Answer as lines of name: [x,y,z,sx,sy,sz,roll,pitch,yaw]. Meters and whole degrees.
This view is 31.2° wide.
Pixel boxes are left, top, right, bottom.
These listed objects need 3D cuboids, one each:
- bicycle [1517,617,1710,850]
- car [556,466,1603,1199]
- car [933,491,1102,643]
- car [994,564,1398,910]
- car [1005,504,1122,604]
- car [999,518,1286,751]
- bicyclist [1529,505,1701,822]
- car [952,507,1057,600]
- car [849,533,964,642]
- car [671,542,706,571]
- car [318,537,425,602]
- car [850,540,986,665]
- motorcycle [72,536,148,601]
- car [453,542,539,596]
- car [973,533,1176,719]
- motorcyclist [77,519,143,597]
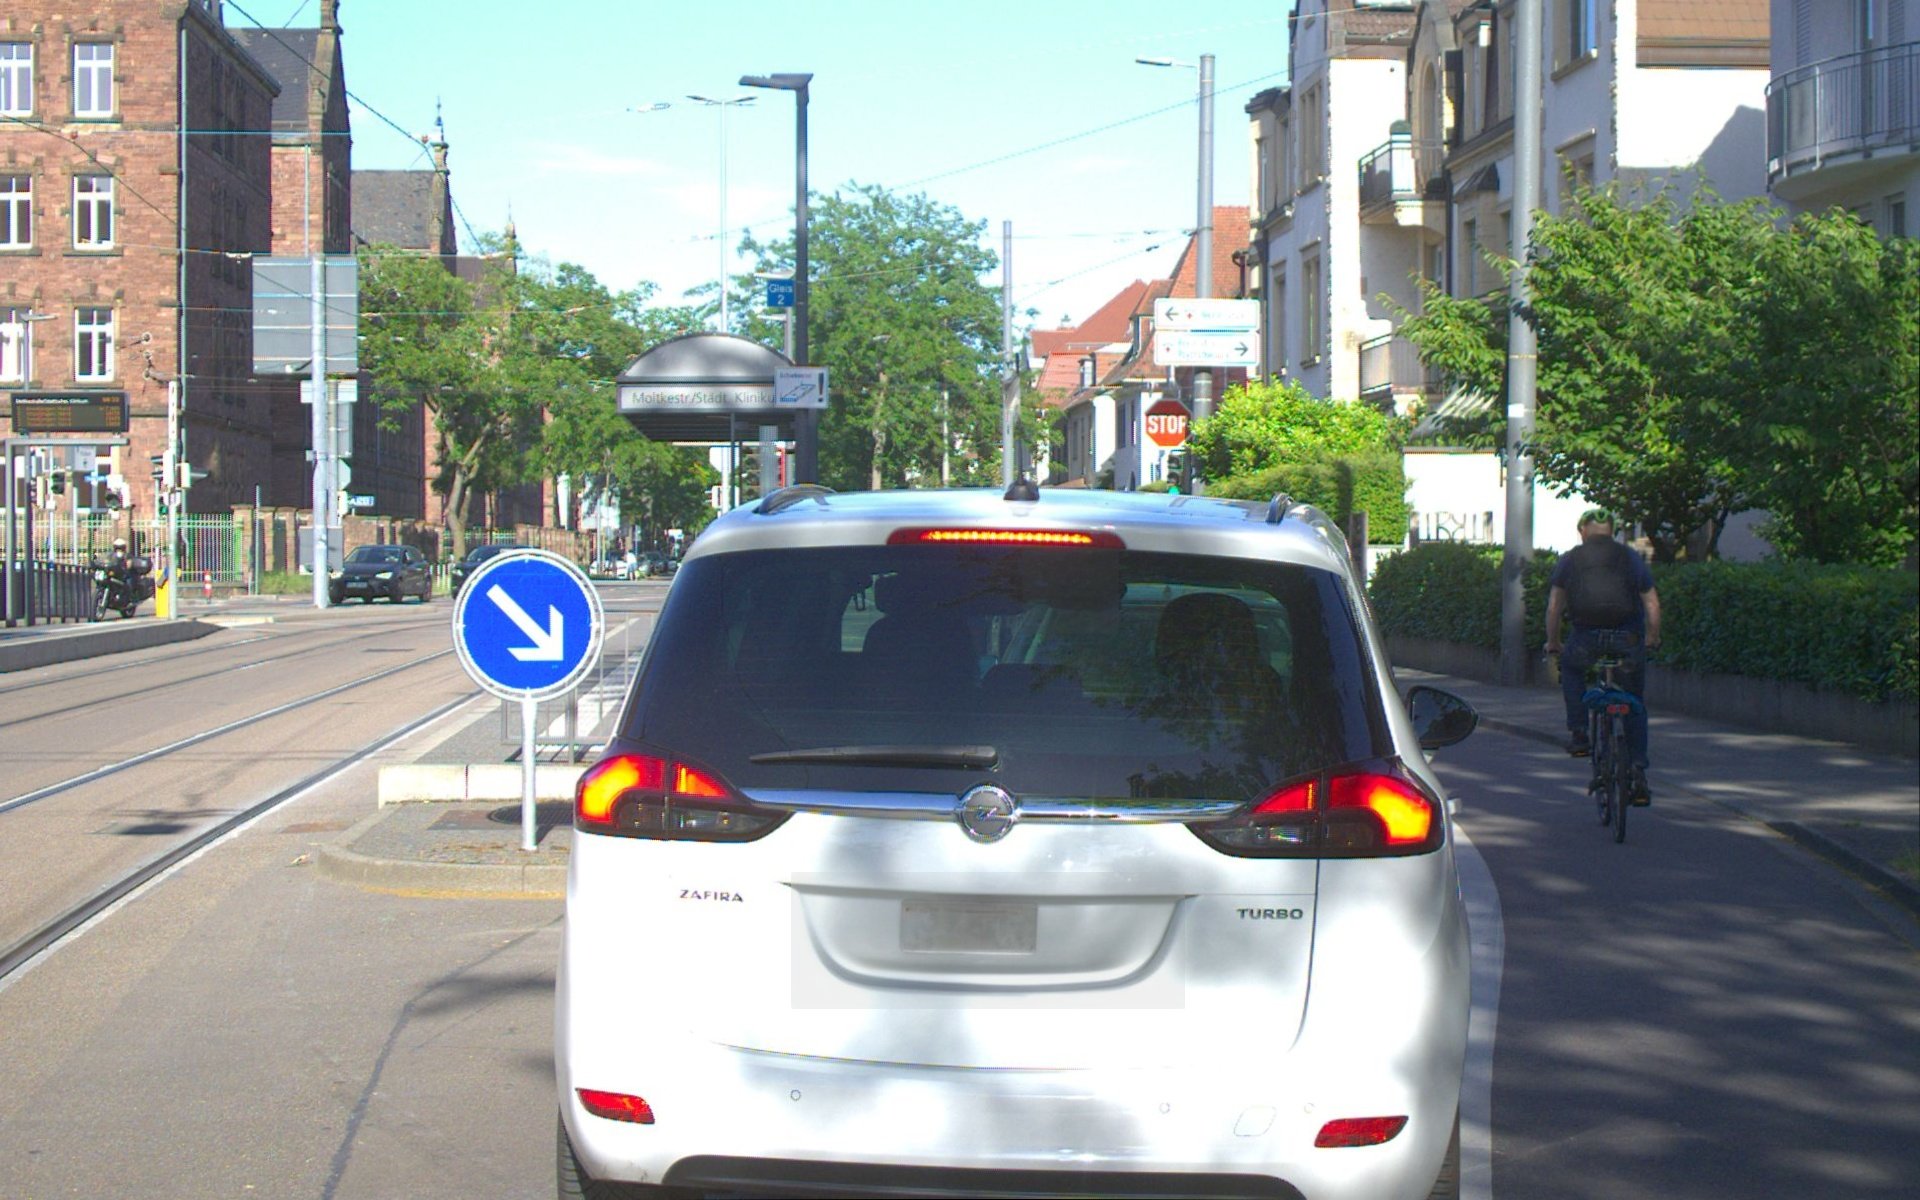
bicycle: [3.458,0.684,18.320,0.685,1.153,1.619,1,1,-1]
car: [0.131,0.575,8.027,1.834,1.636,3.919,1,1,-2]
car: [0.602,-0.378,39.094,1.776,1.626,3.881,1,1,-1]
car: [1.017,0.559,16.458,1.586,1.415,3.900,0,1,-1]
car: [1.729,-0.786,58.663,1.776,1.626,3.881,1,1,-1]
car: [1.315,0.227,26.300,1.776,1.626,3.881,1,1,-3]
bicyclist: [3.464,0.323,18.261,0.685,1.629,1.015,1,0,-1]
car: [0.792,-0.841,62.928,1.776,1.626,3.881,1,1,-1]
car: [-0.876,-0.220,55.812,1.776,1.687,3.881,1,1,-1]
car: [-15.723,-2.540,199.285,1.906,1.671,4.358,1,1,-3]
car: [-14.545,-0.767,85.174,1.993,1.541,4.000,1,1,-1]
car: [-0.574,0.009,47.425,1.776,1.626,3.881,1,1,0]
motorcycle: [-16.808,-0.631,68.027,1.130,1.239,2.574,1,1,-7]
car: [-13.551,-0.908,100.548,1.993,1.541,4.000,1,1,-1]
car: [1.032,0.209,32.442,1.776,1.626,3.880,1,1,1]
motorcyclist: [-16.794,-0.829,67.969,1.124,1.520,1.055,1,0,-7]
